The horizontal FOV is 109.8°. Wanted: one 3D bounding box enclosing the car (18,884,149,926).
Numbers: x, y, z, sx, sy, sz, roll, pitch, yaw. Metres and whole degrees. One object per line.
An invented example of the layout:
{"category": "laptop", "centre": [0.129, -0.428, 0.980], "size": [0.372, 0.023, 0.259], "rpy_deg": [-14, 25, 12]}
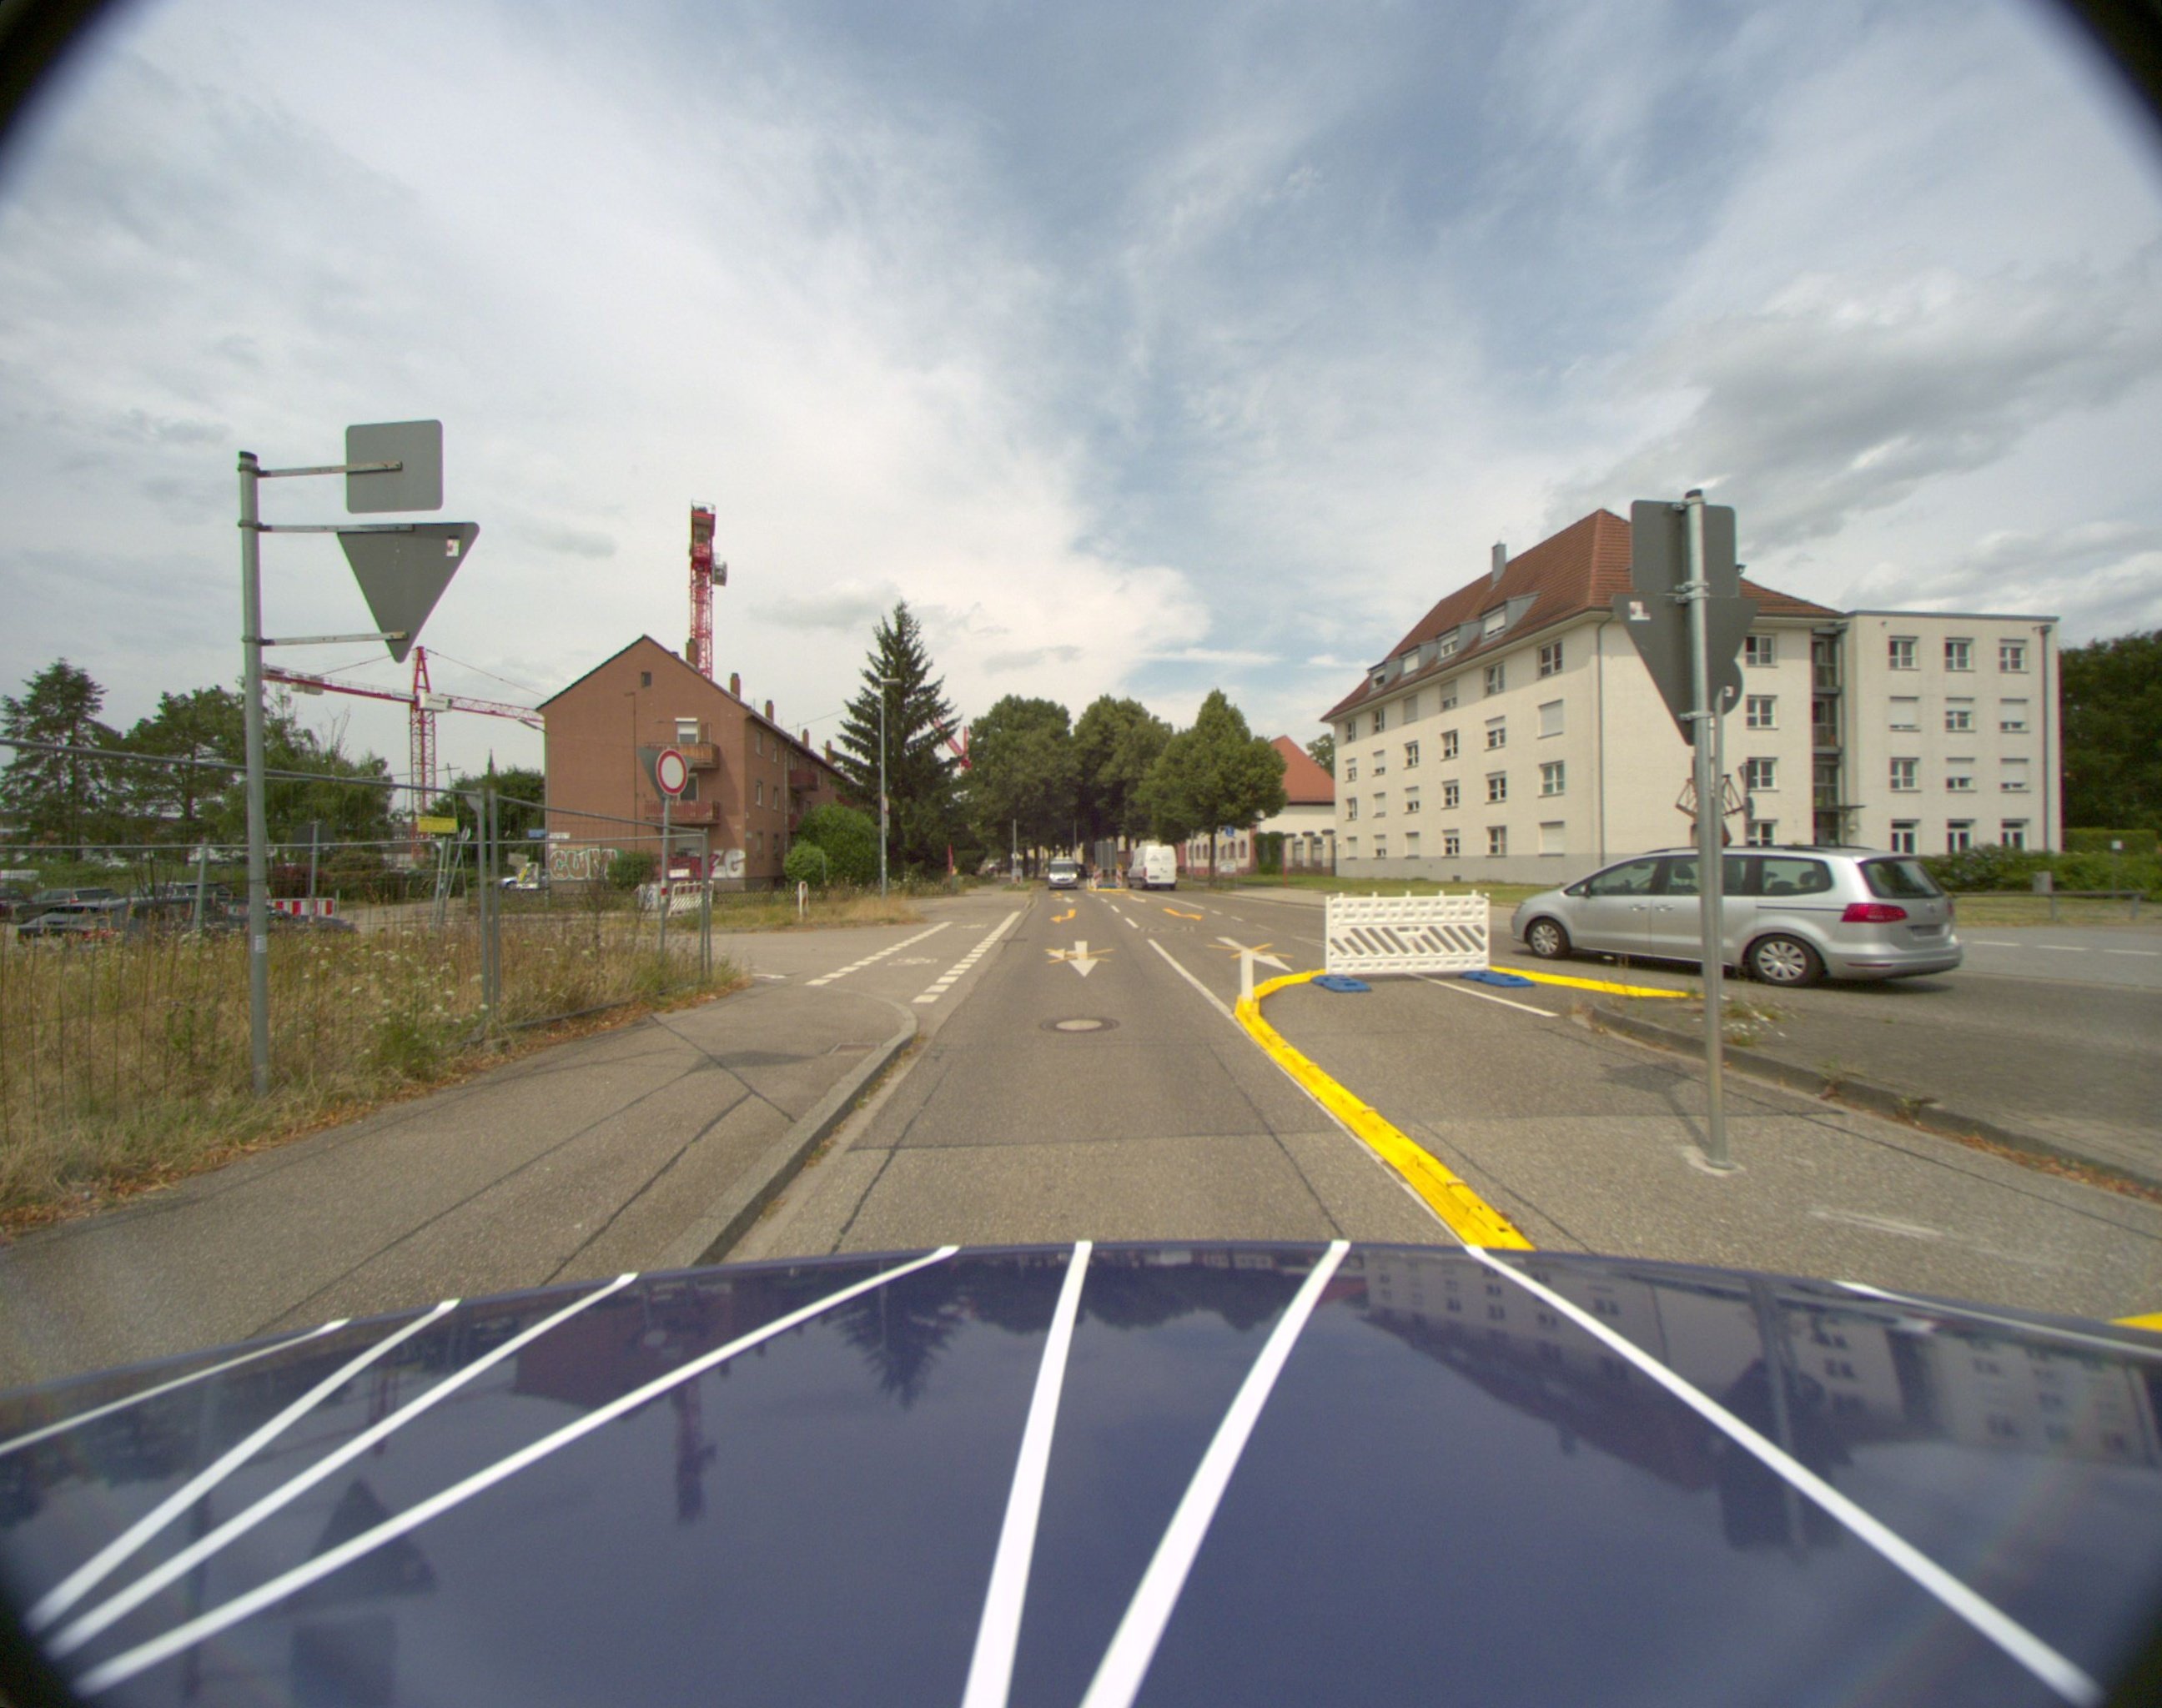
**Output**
{"category": "car", "centre": [-41.319, 2.108, 31.502], "size": [4.006, 1.593, 1.804], "rpy_deg": [-1, 0, 14]}

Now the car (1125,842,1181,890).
{"category": "car", "centre": [4.291, 0.700, 46.348], "size": [2.071, 2.669, 5.967], "rpy_deg": [-1, 0, -7]}

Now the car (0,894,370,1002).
{"category": "car", "centre": [-16.036, 1.575, 13.911], "size": [1.765, 1.465, 4.261], "rpy_deg": [-1, 0, 6]}

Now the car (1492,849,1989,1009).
{"category": "car", "centre": [8.297, 0.798, 10.247], "size": [1.804, 1.613, 4.739], "rpy_deg": [-1, -1, -23]}

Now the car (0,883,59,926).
{"category": "car", "centre": [-46.345, 2.136, 32.372], "size": [4.006, 1.739, 1.859], "rpy_deg": [-1, 0, 13]}

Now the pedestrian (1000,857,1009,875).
{"category": "pedestrian", "centre": [-8.369, 1.329, 82.929], "size": [0.856, 2.002, 0.731], "rpy_deg": [-1, 0, -11]}

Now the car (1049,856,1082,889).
{"category": "car", "centre": [-1.036, 1.084, 47.115], "size": [1.810, 1.936, 4.583], "rpy_deg": [-1, 0, -4]}

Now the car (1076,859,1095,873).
{"category": "car", "centre": [0.433, 1.303, 81.346], "size": [1.677, 1.402, 3.919], "rpy_deg": [-1, 0, -4]}
